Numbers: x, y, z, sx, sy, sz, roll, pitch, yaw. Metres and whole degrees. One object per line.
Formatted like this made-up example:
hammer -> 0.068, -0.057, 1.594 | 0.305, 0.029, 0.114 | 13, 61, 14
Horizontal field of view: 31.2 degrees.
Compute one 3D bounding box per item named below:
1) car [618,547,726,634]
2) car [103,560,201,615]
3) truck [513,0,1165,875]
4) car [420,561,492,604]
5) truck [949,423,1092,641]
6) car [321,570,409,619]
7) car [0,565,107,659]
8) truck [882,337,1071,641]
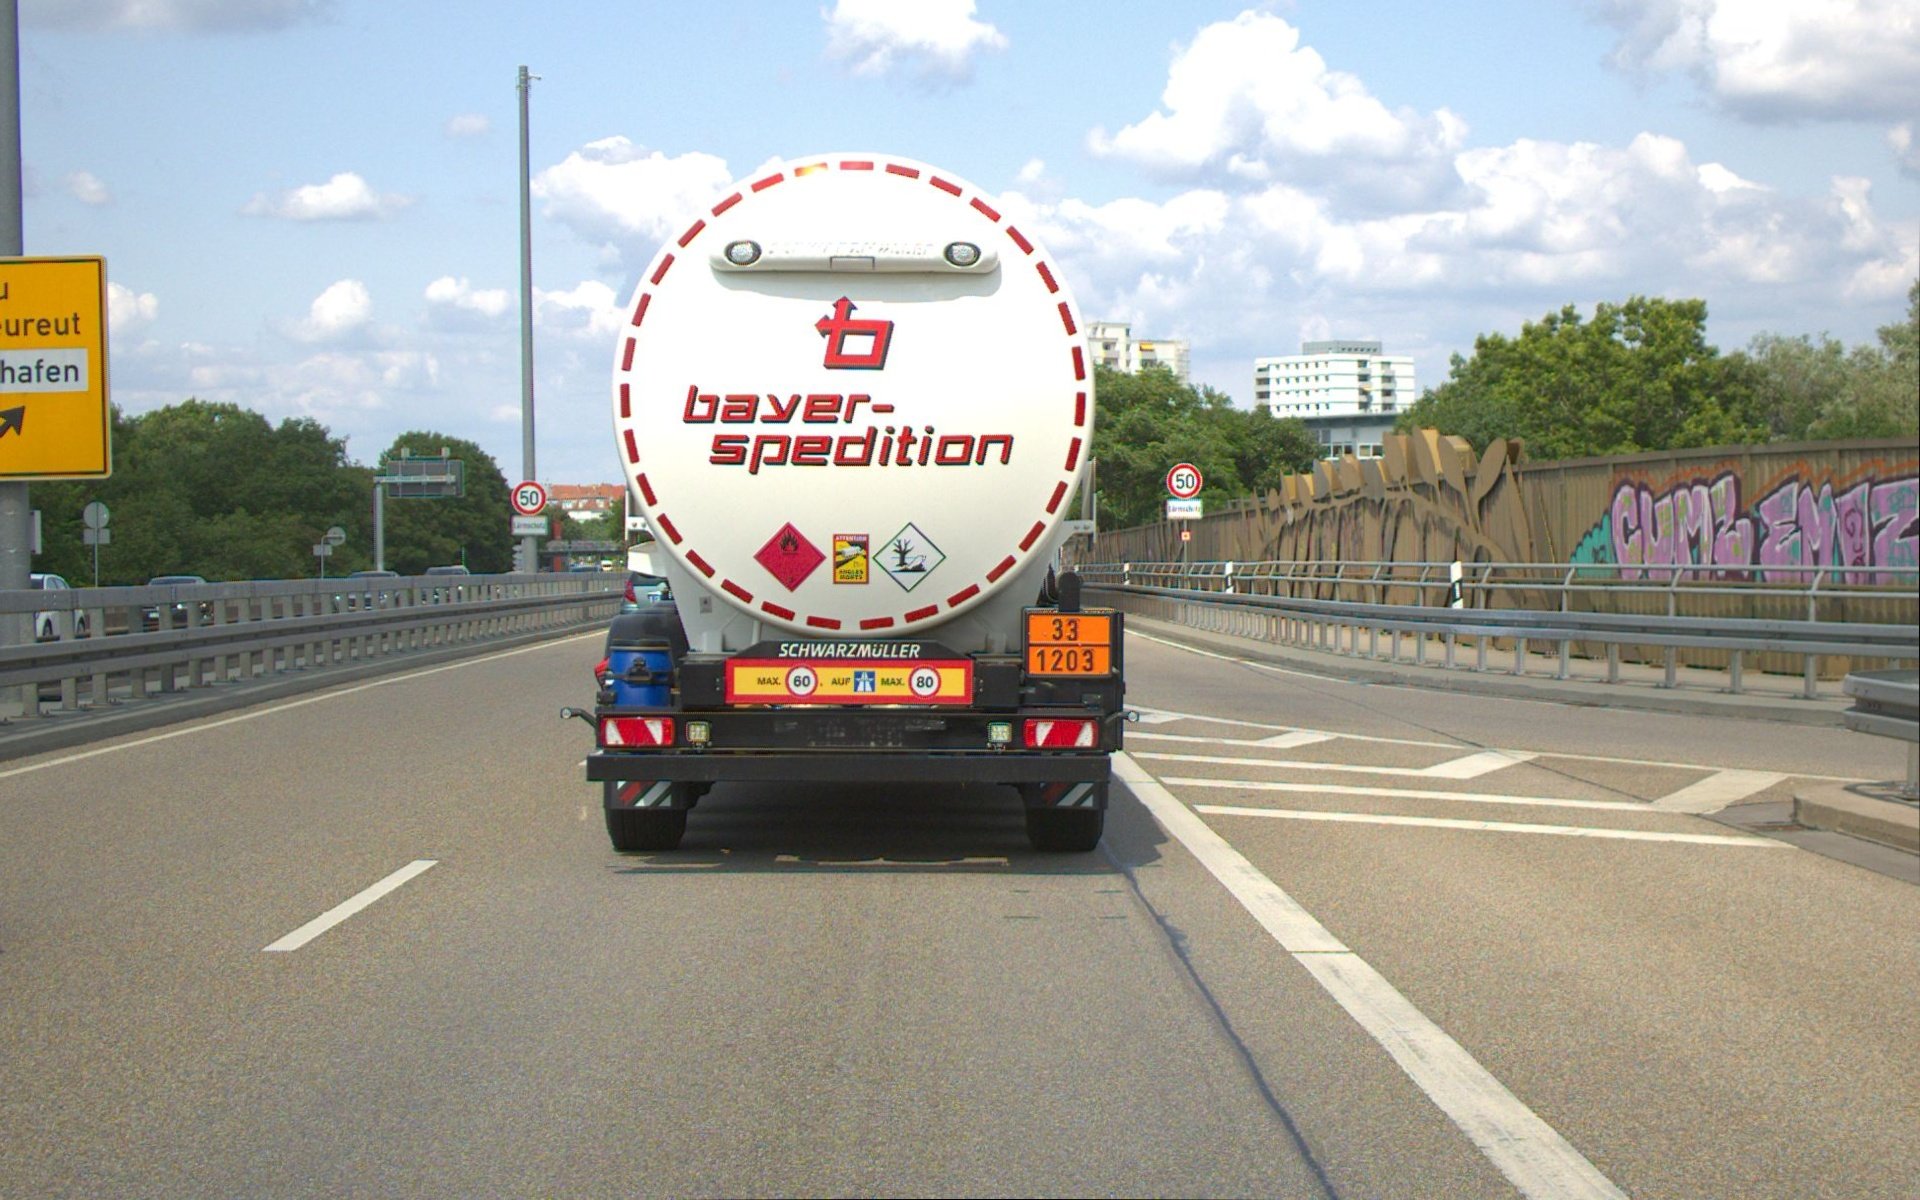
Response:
car -> -5.288, -0.201, 63.598 | 1.747, 1.526, 4.000 | 0, 1, -1
car -> -21.214, -0.352, 90.428 | 1.678, 1.397, 4.000 | 0, 1, -1
truck -> -0.655, -1.005, 19.586 | 2.895, 4.354, 8.030 | 1, 1, -2
car -> -17.720, -0.619, 121.040 | 1.912, 1.459, 4.519 | -1, 1, 0
truck -> 1.323, -1.570, 80.130 | 2.895, 4.791, 8.030 | 1, 1, -2
car -> -17.563, -0.177, 101.663 | 1.777, 1.415, 4.621 | 0, 1, 0
car -> -17.001, 0.192, 62.486 | 1.797, 1.590, 4.712 | 1, 1, 0
truck -> 0.173, -1.820, 58.584 | 2.895, 4.791, 8.030 | 1, 1, -2
